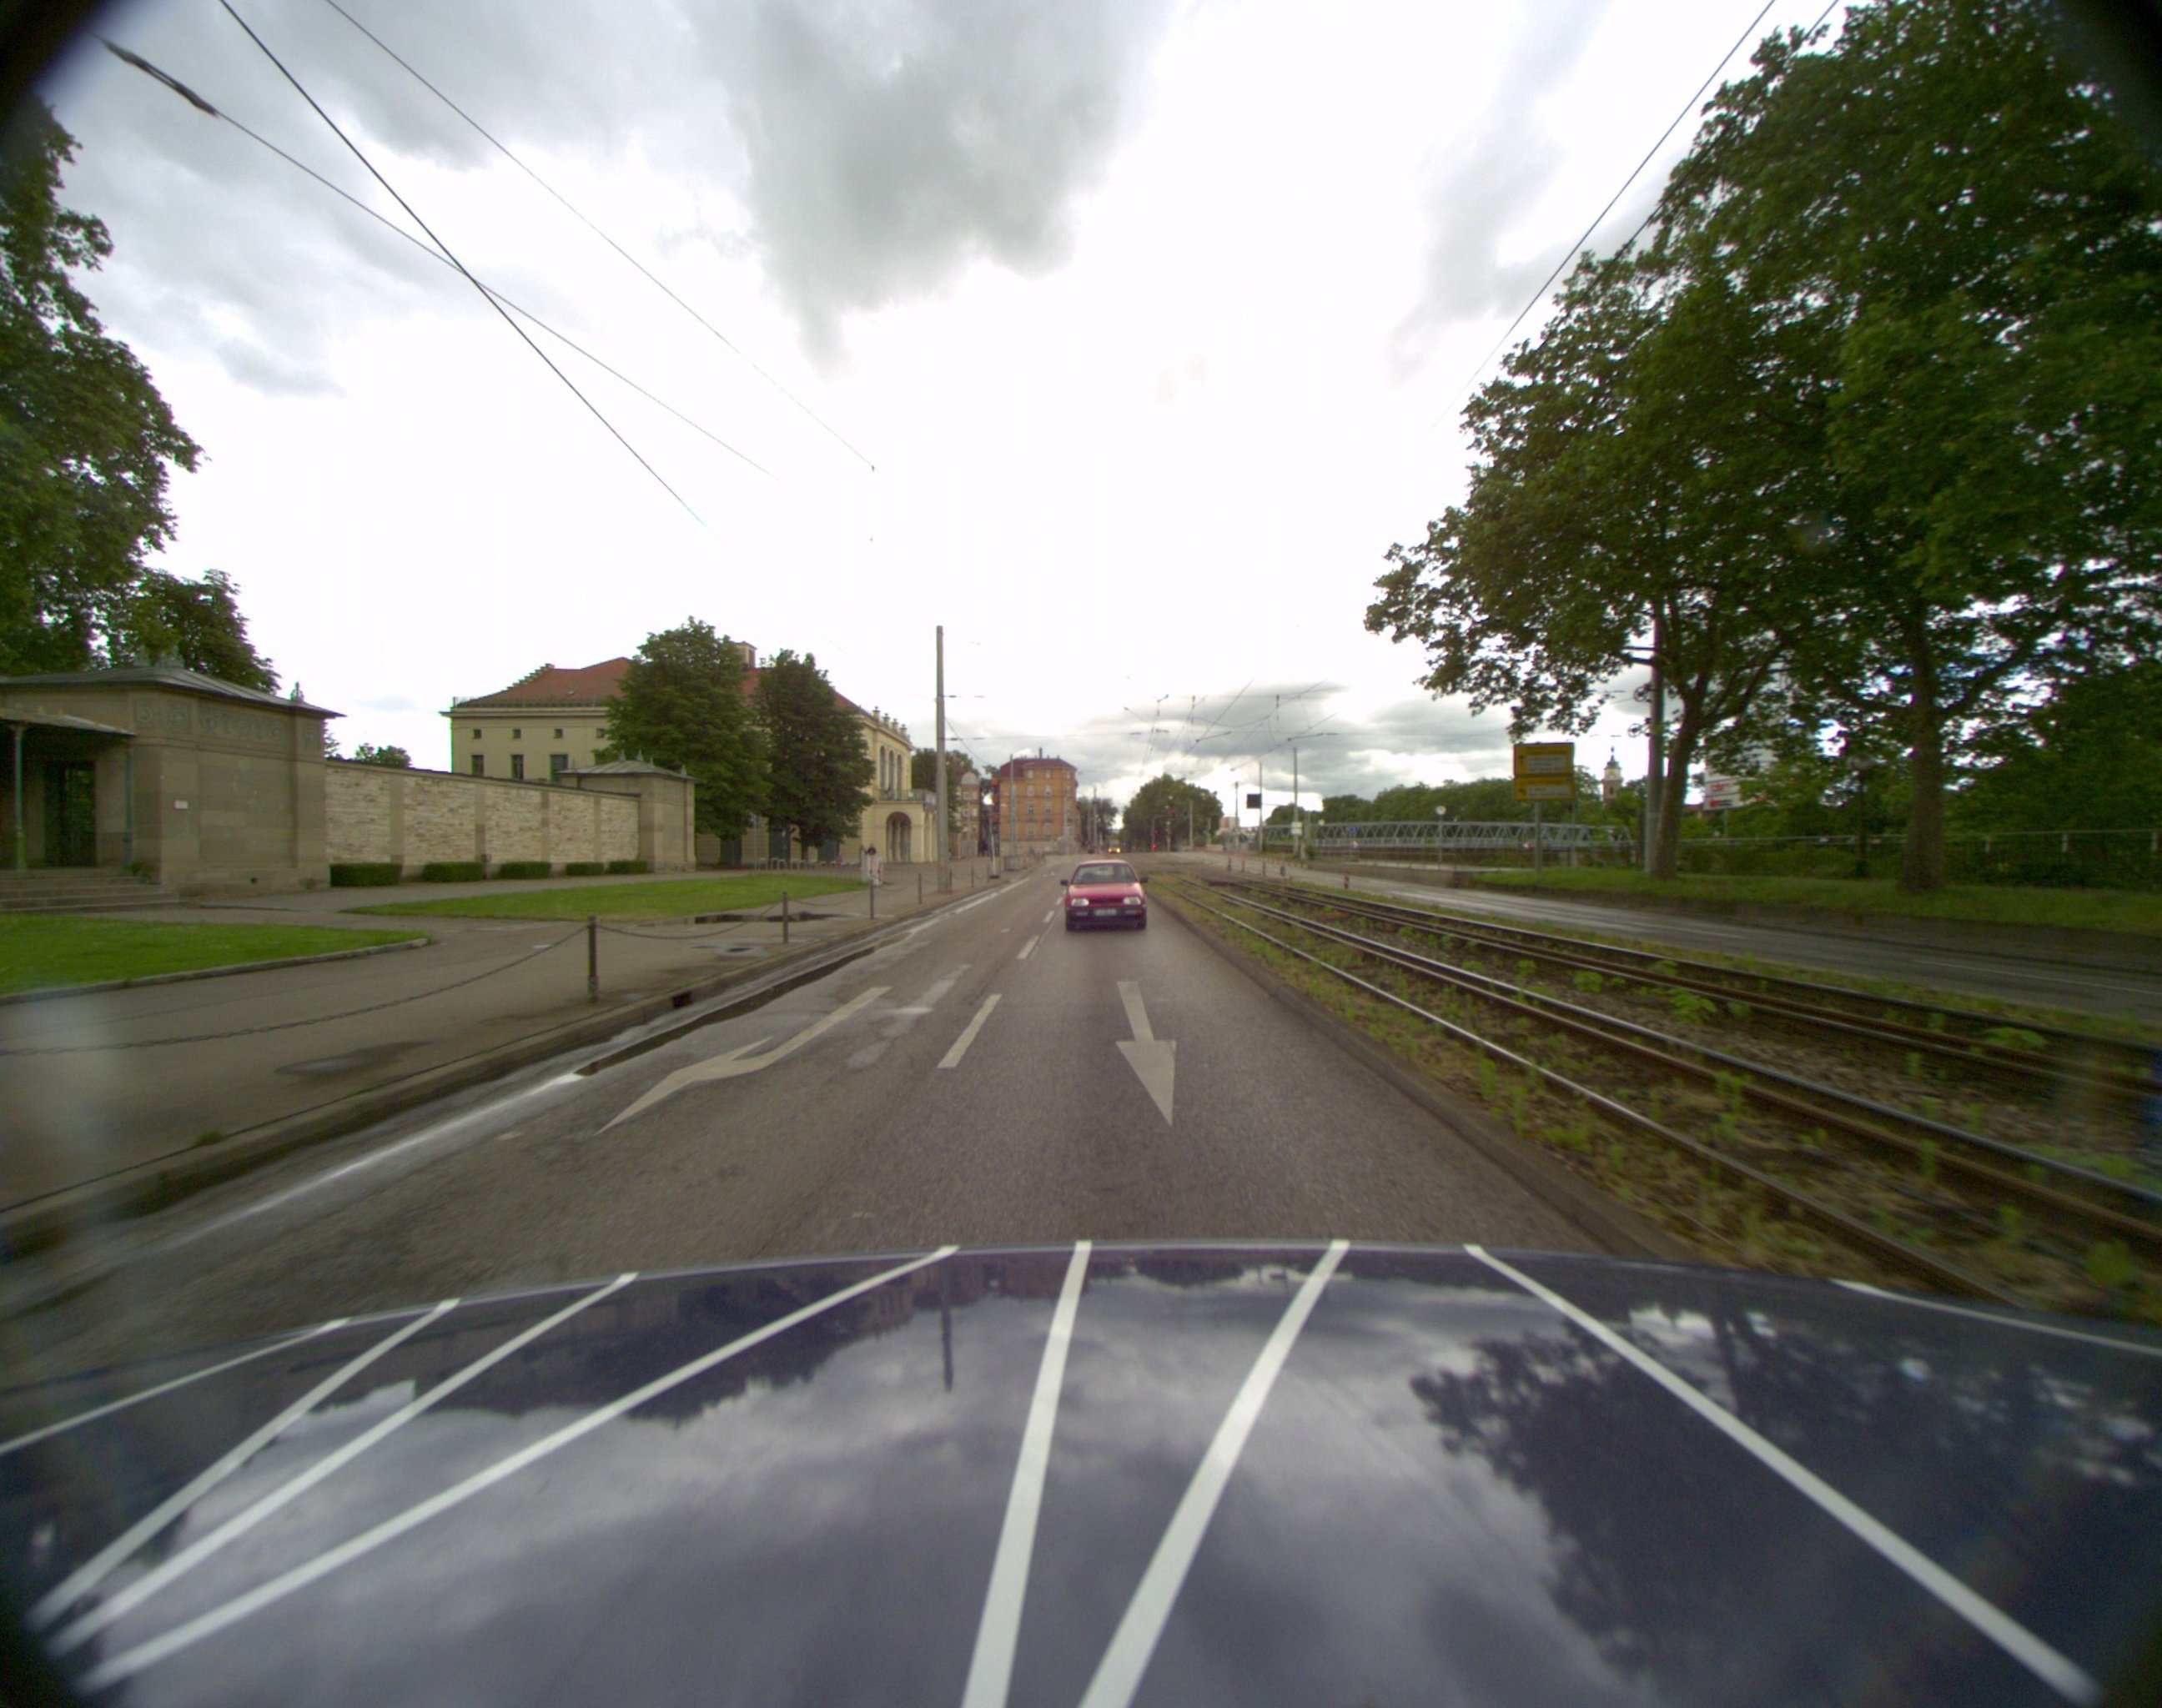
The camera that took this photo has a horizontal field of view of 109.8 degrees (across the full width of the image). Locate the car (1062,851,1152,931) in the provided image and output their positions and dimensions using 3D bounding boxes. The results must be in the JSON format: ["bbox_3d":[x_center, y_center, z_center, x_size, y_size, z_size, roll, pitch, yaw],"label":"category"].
[{"bbox_3d":[0.533,0.703,16.771,1.681,1.434,4.119,-2,1,1],"label":"car"}]

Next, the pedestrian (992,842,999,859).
[{"bbox_3d":[-9.143,-0.367,81.529,0.672,1.758,0.936,0,2,1],"label":"pedestrian"}]

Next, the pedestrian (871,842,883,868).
[{"bbox_3d":[-13.778,0.055,51.306,0.598,1.689,0.790,0,2,1],"label":"pedestrian"}]

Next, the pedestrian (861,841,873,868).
[{"bbox_3d":[-14.434,0.046,51.291,0.596,1.782,0.808,0,2,1],"label":"pedestrian"}]

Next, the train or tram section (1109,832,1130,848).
[{"bbox_3d":[8.821,-3.328,176.361,3.739,3.347,17.550,1,2,0],"label":"train or tram section"}]

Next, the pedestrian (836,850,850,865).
[{"bbox_3d":[-16.235,0.264,51.834,0.760,0.995,0.595,-1,2,-34],"label":"pedestrian"}]

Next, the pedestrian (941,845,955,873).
[{"bbox_3d":[-8.457,0.322,48.400,0.672,1.758,0.936,0,2,1],"label":"pedestrian"}]
